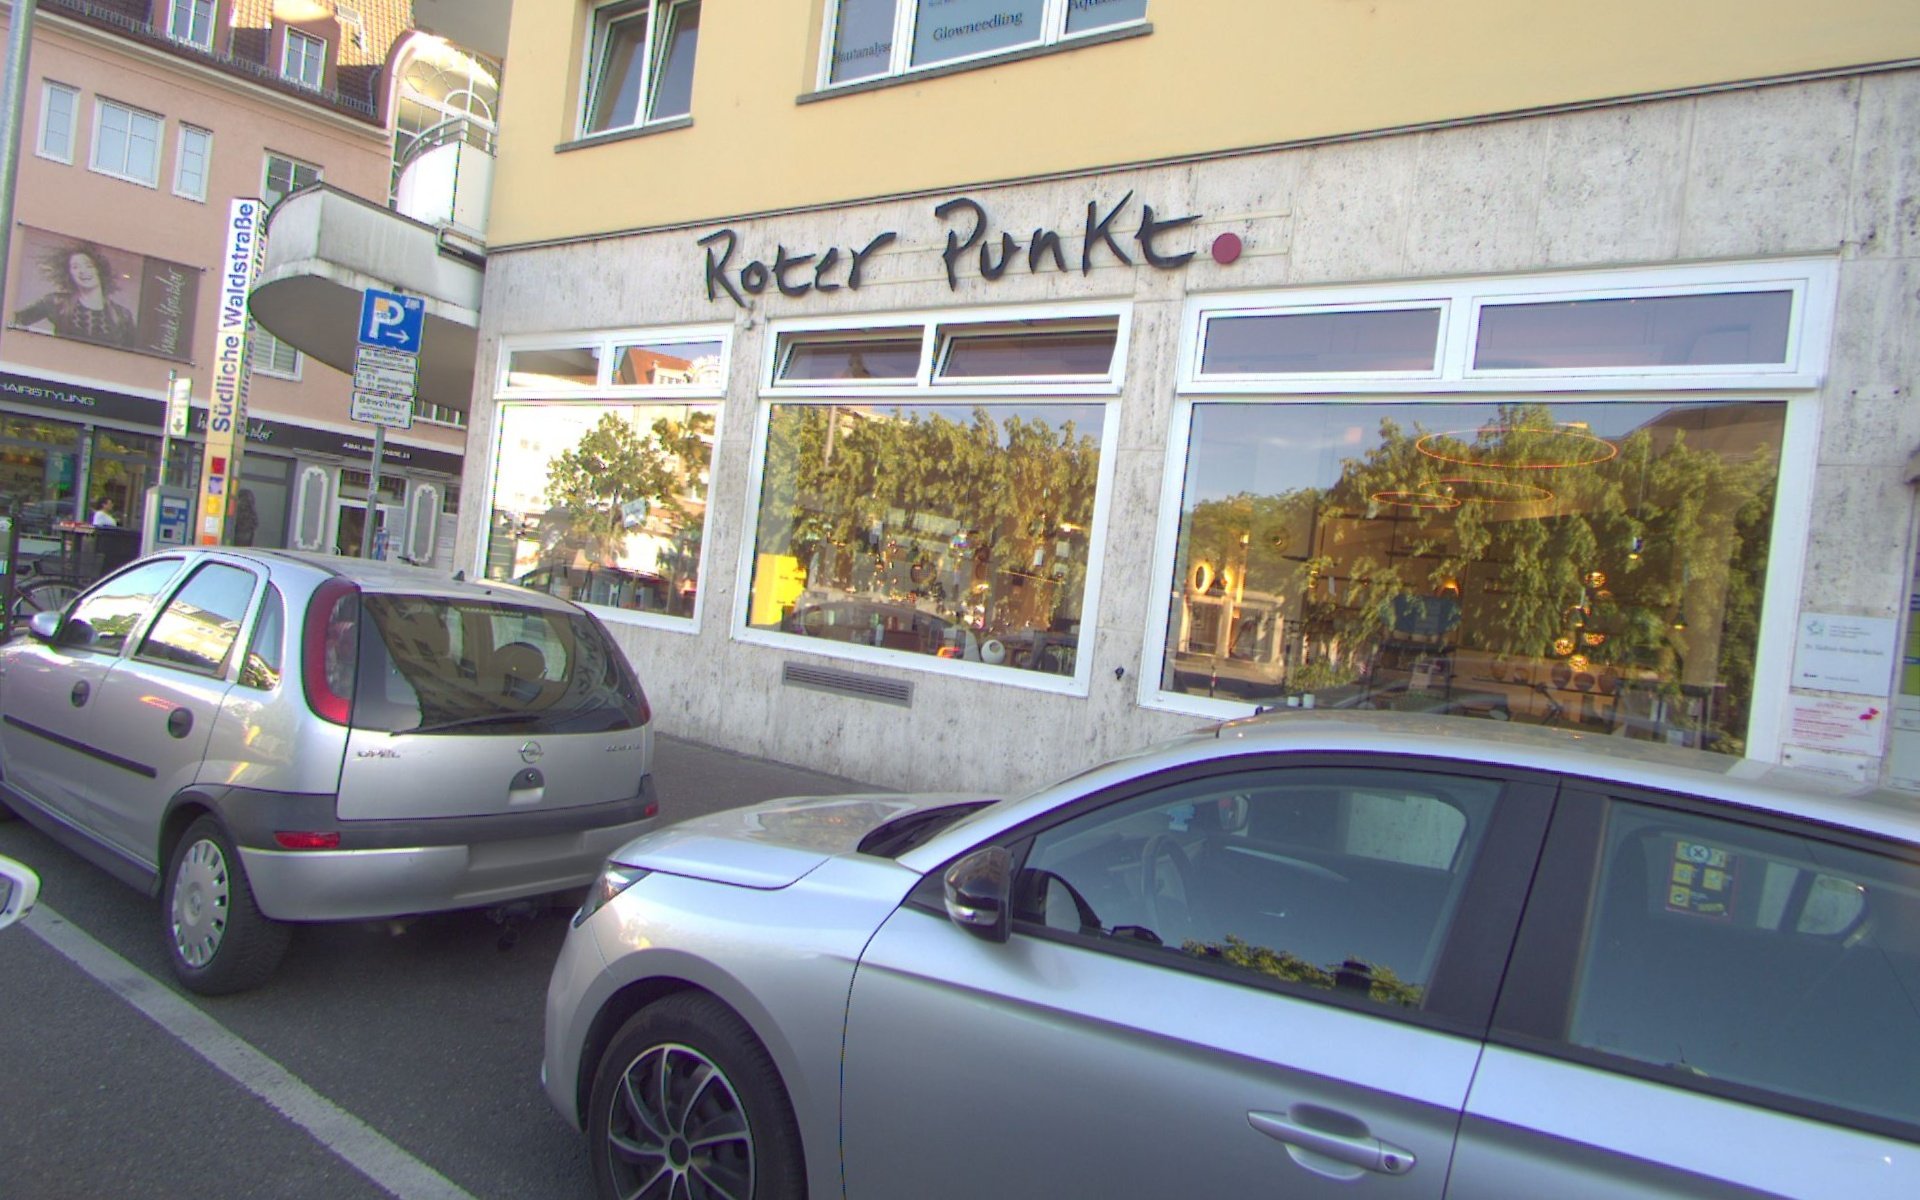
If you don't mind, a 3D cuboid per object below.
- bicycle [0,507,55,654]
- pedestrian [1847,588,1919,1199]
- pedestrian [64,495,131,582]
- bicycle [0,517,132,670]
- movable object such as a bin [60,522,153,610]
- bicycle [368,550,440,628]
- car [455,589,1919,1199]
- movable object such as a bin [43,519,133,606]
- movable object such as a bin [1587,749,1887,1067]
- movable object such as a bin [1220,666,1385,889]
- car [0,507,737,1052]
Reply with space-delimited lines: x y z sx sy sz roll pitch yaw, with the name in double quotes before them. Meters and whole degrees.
"bicycle" -9.105 -0.236 8.700 0.778 1.284 1.721 7 1 37
"pedestrian" 3.355 0.898 2.909 0.994 1.807 0.862 7 2 40
"pedestrian" -16.709 -1.182 19.502 0.742 1.571 0.693 7 0 -32
"bicycle" -8.100 -0.084 8.226 0.681 1.208 1.885 8 1 37
"movable object such as a bin" -11.896 -0.469 14.027 0.617 1.105 0.754 6 -1 34
"bicycle" -9.978 -0.224 18.020 0.656 1.213 2.187 7 -1 -39
"car" 0.784 0.927 2.307 3.643 1.415 1.653 7 -1 30
"movable object such as a bin" -12.432 -0.527 14.347 0.617 1.105 0.734 6 -1 34
"movable object such as a bin" 3.378 1.283 4.483 0.879 1.066 0.751 7 0 32
"movable object such as a bin" 1.895 0.930 5.519 0.592 1.041 0.811 7 0 32
"car" -2.936 0.480 4.459 3.583 1.397 1.616 7 -2 32
